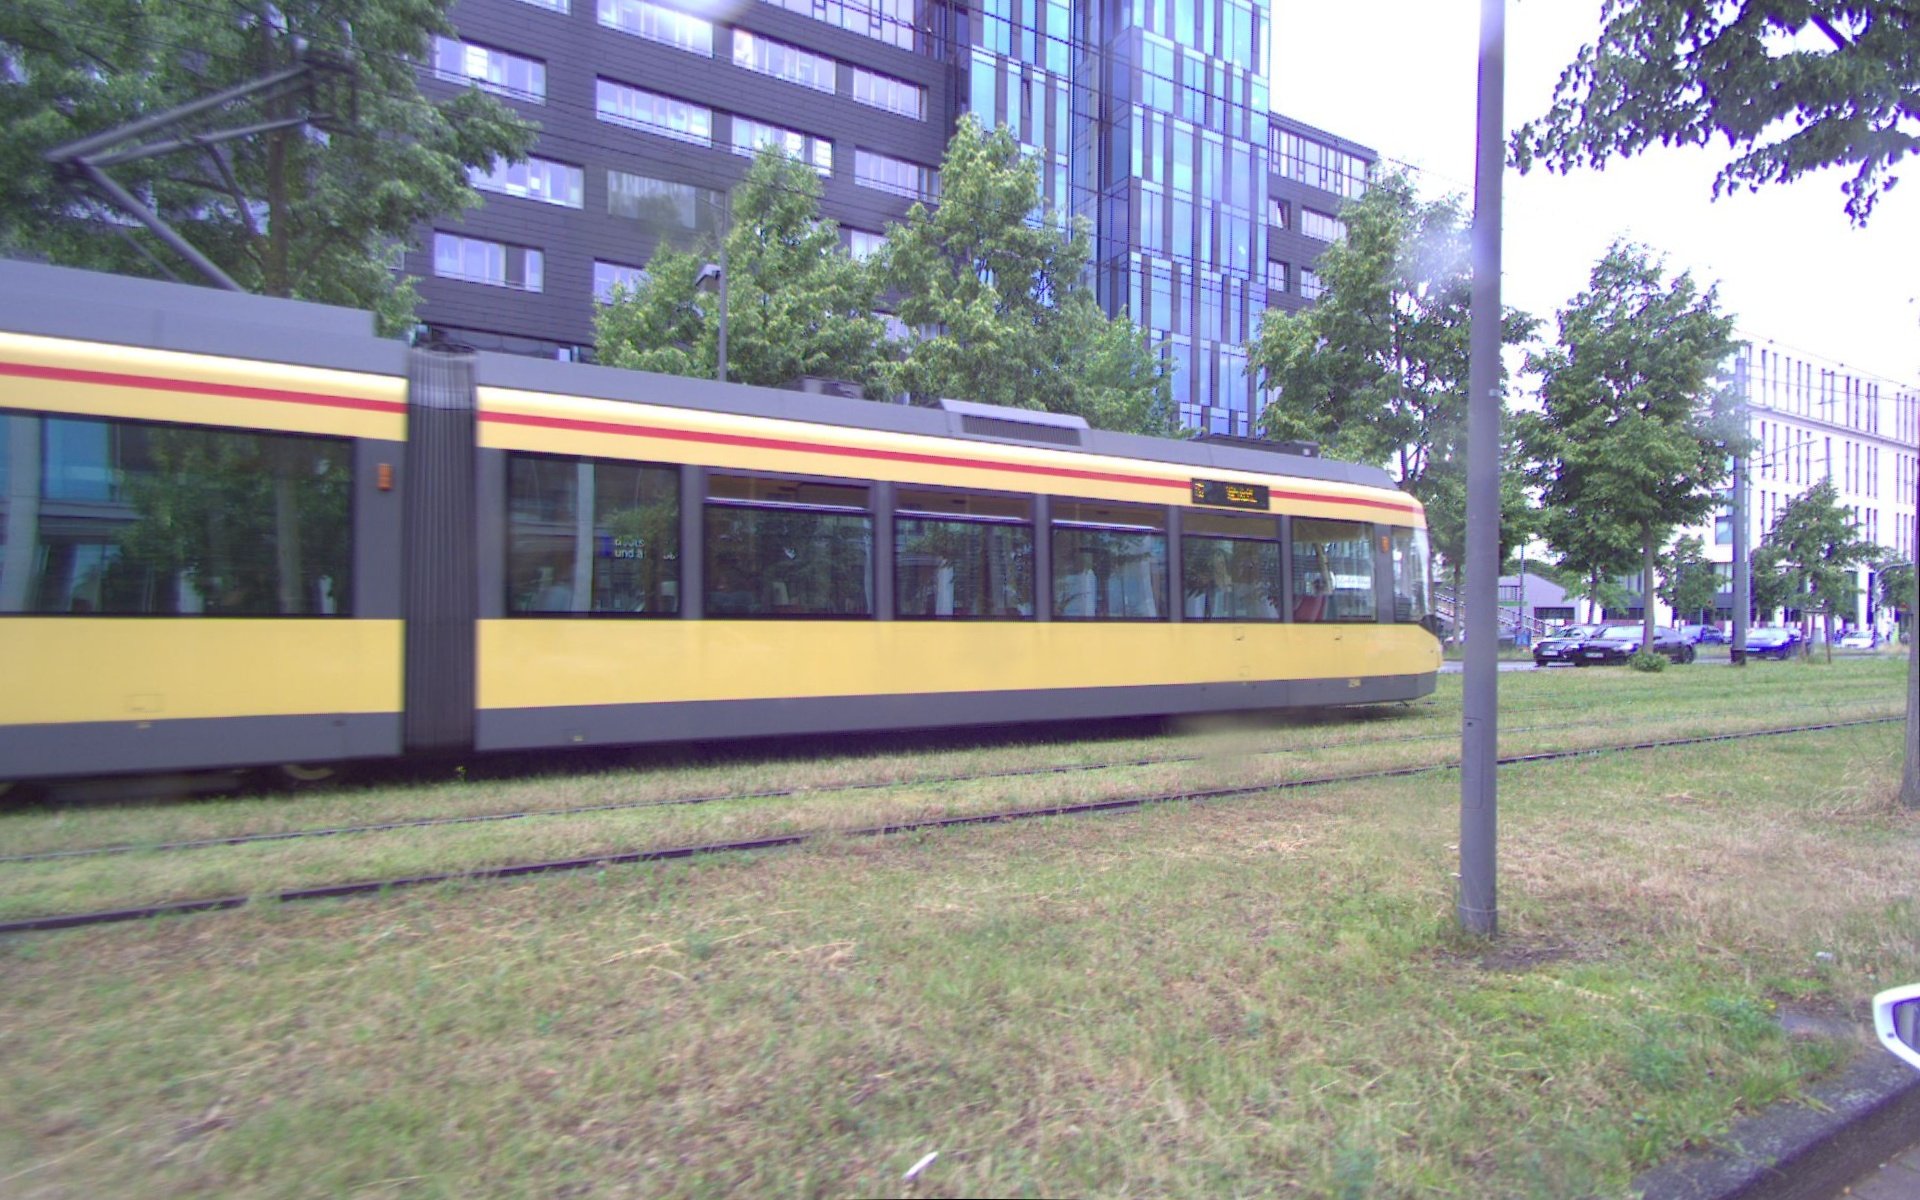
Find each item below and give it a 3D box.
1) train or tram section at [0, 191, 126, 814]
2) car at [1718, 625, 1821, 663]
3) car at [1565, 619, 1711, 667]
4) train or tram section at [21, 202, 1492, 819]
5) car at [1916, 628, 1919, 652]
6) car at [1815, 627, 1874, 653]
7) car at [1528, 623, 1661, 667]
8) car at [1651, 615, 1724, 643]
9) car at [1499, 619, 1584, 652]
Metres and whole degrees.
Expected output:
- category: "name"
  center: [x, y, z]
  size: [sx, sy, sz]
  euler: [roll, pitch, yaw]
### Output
- category: "train or tram section"
  center: [-12.163, -0.686, 3.945]
  size: [13.249, 3.708, 3.113]
  euler: [1, 0, -31]
- category: "car"
  center: [35.557, 1.900, 44.094]
  size: [4.955, 1.542, 1.983]
  euler: [1, 0, -32]
- category: "car"
  center: [21.550, 1.345, 31.900]
  size: [4.816, 1.398, 1.983]
  euler: [1, 0, -31]
- category: "train or tram section"
  center: [0.021, -0.418, 11.187]
  size: [14.888, 3.708, 3.113]
  euler: [1, 0, -31]
- category: "car"
  center: [76.703, 3.170, 78.459]
  size: [3.954, 1.862, 1.983]
  euler: [1, 0, -31]
- category: "car"
  center: [59.567, 2.689, 67.640]
  size: [3.955, 1.639, 1.983]
  euler: [1, -1, -32]
- category: "car"
  center: [22.332, 1.549, 35.324]
  size: [4.816, 1.398, 1.983]
  euler: [1, 0, -31]
- category: "car"
  center: [41.301, 1.641, 56.985]
  size: [4.399, 1.504, 1.981]
  euler: [1, 0, -34]
- category: "car"
  center: [29.085, 1.760, 50.236]
  size: [4.400, 1.504, 1.981]
  euler: [1, 0, -35]
